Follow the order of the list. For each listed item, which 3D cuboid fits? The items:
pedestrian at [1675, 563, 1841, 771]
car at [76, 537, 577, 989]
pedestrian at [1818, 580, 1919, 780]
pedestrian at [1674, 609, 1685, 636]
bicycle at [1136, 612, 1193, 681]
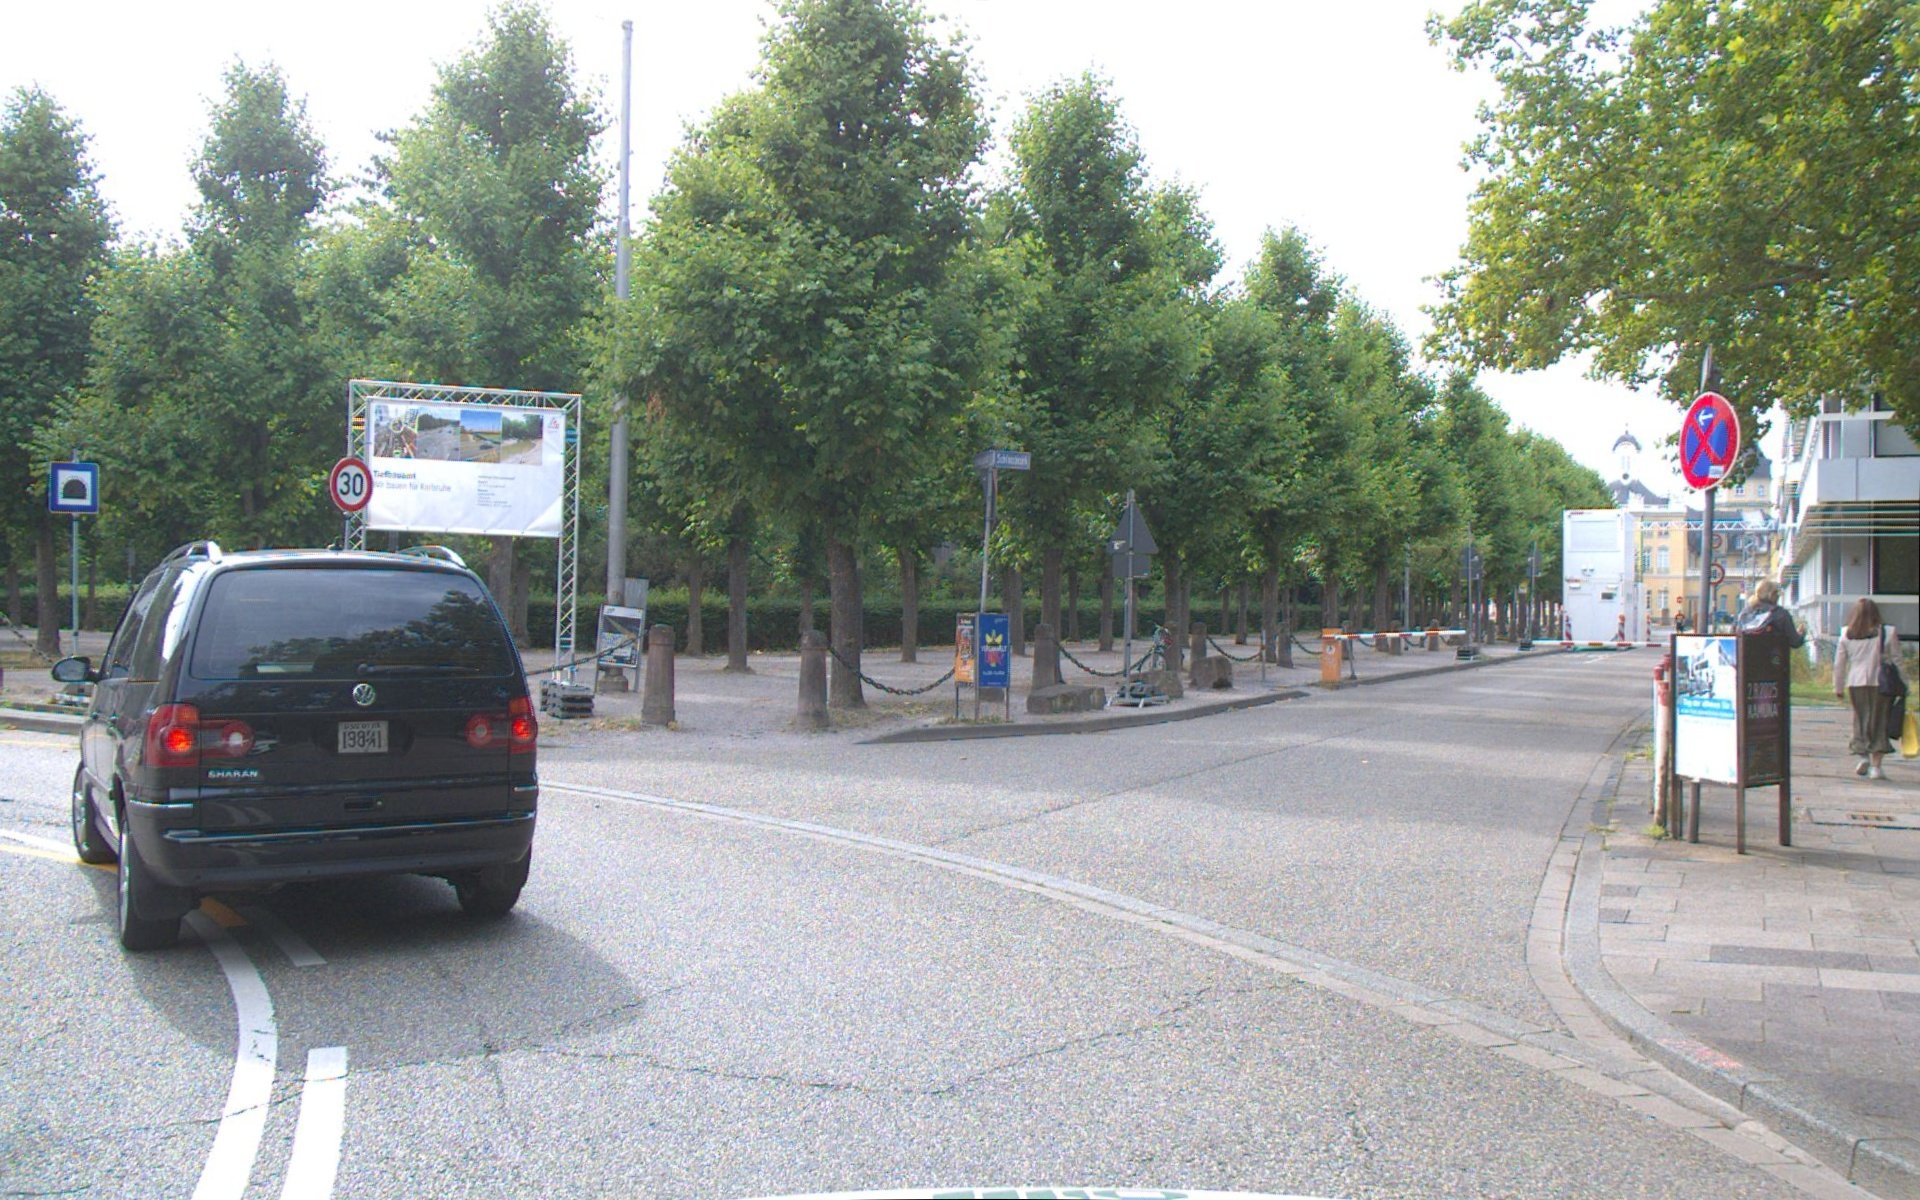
[{"bbox_3d":[7.253,0.578,15.027,1.246,1.772,0.948,1,1,-44],"label":"pedestrian"},{"bbox_3d":[-3.490,0.622,8.600,1.775,1.738,4.088,0,0,-31],"label":"car"},{"bbox_3d":[8.092,0.679,14.551,0.878,1.670,0.852,2,1,26],"label":"pedestrian"},{"bbox_3d":[44.302,1.393,101.839,0.449,1.653,0.633,2,1,12],"label":"pedestrian"},{"bbox_3d":[3.759,0.825,30.249,0.932,1.129,2.582,2,1,9],"label":"bicycle"}]
